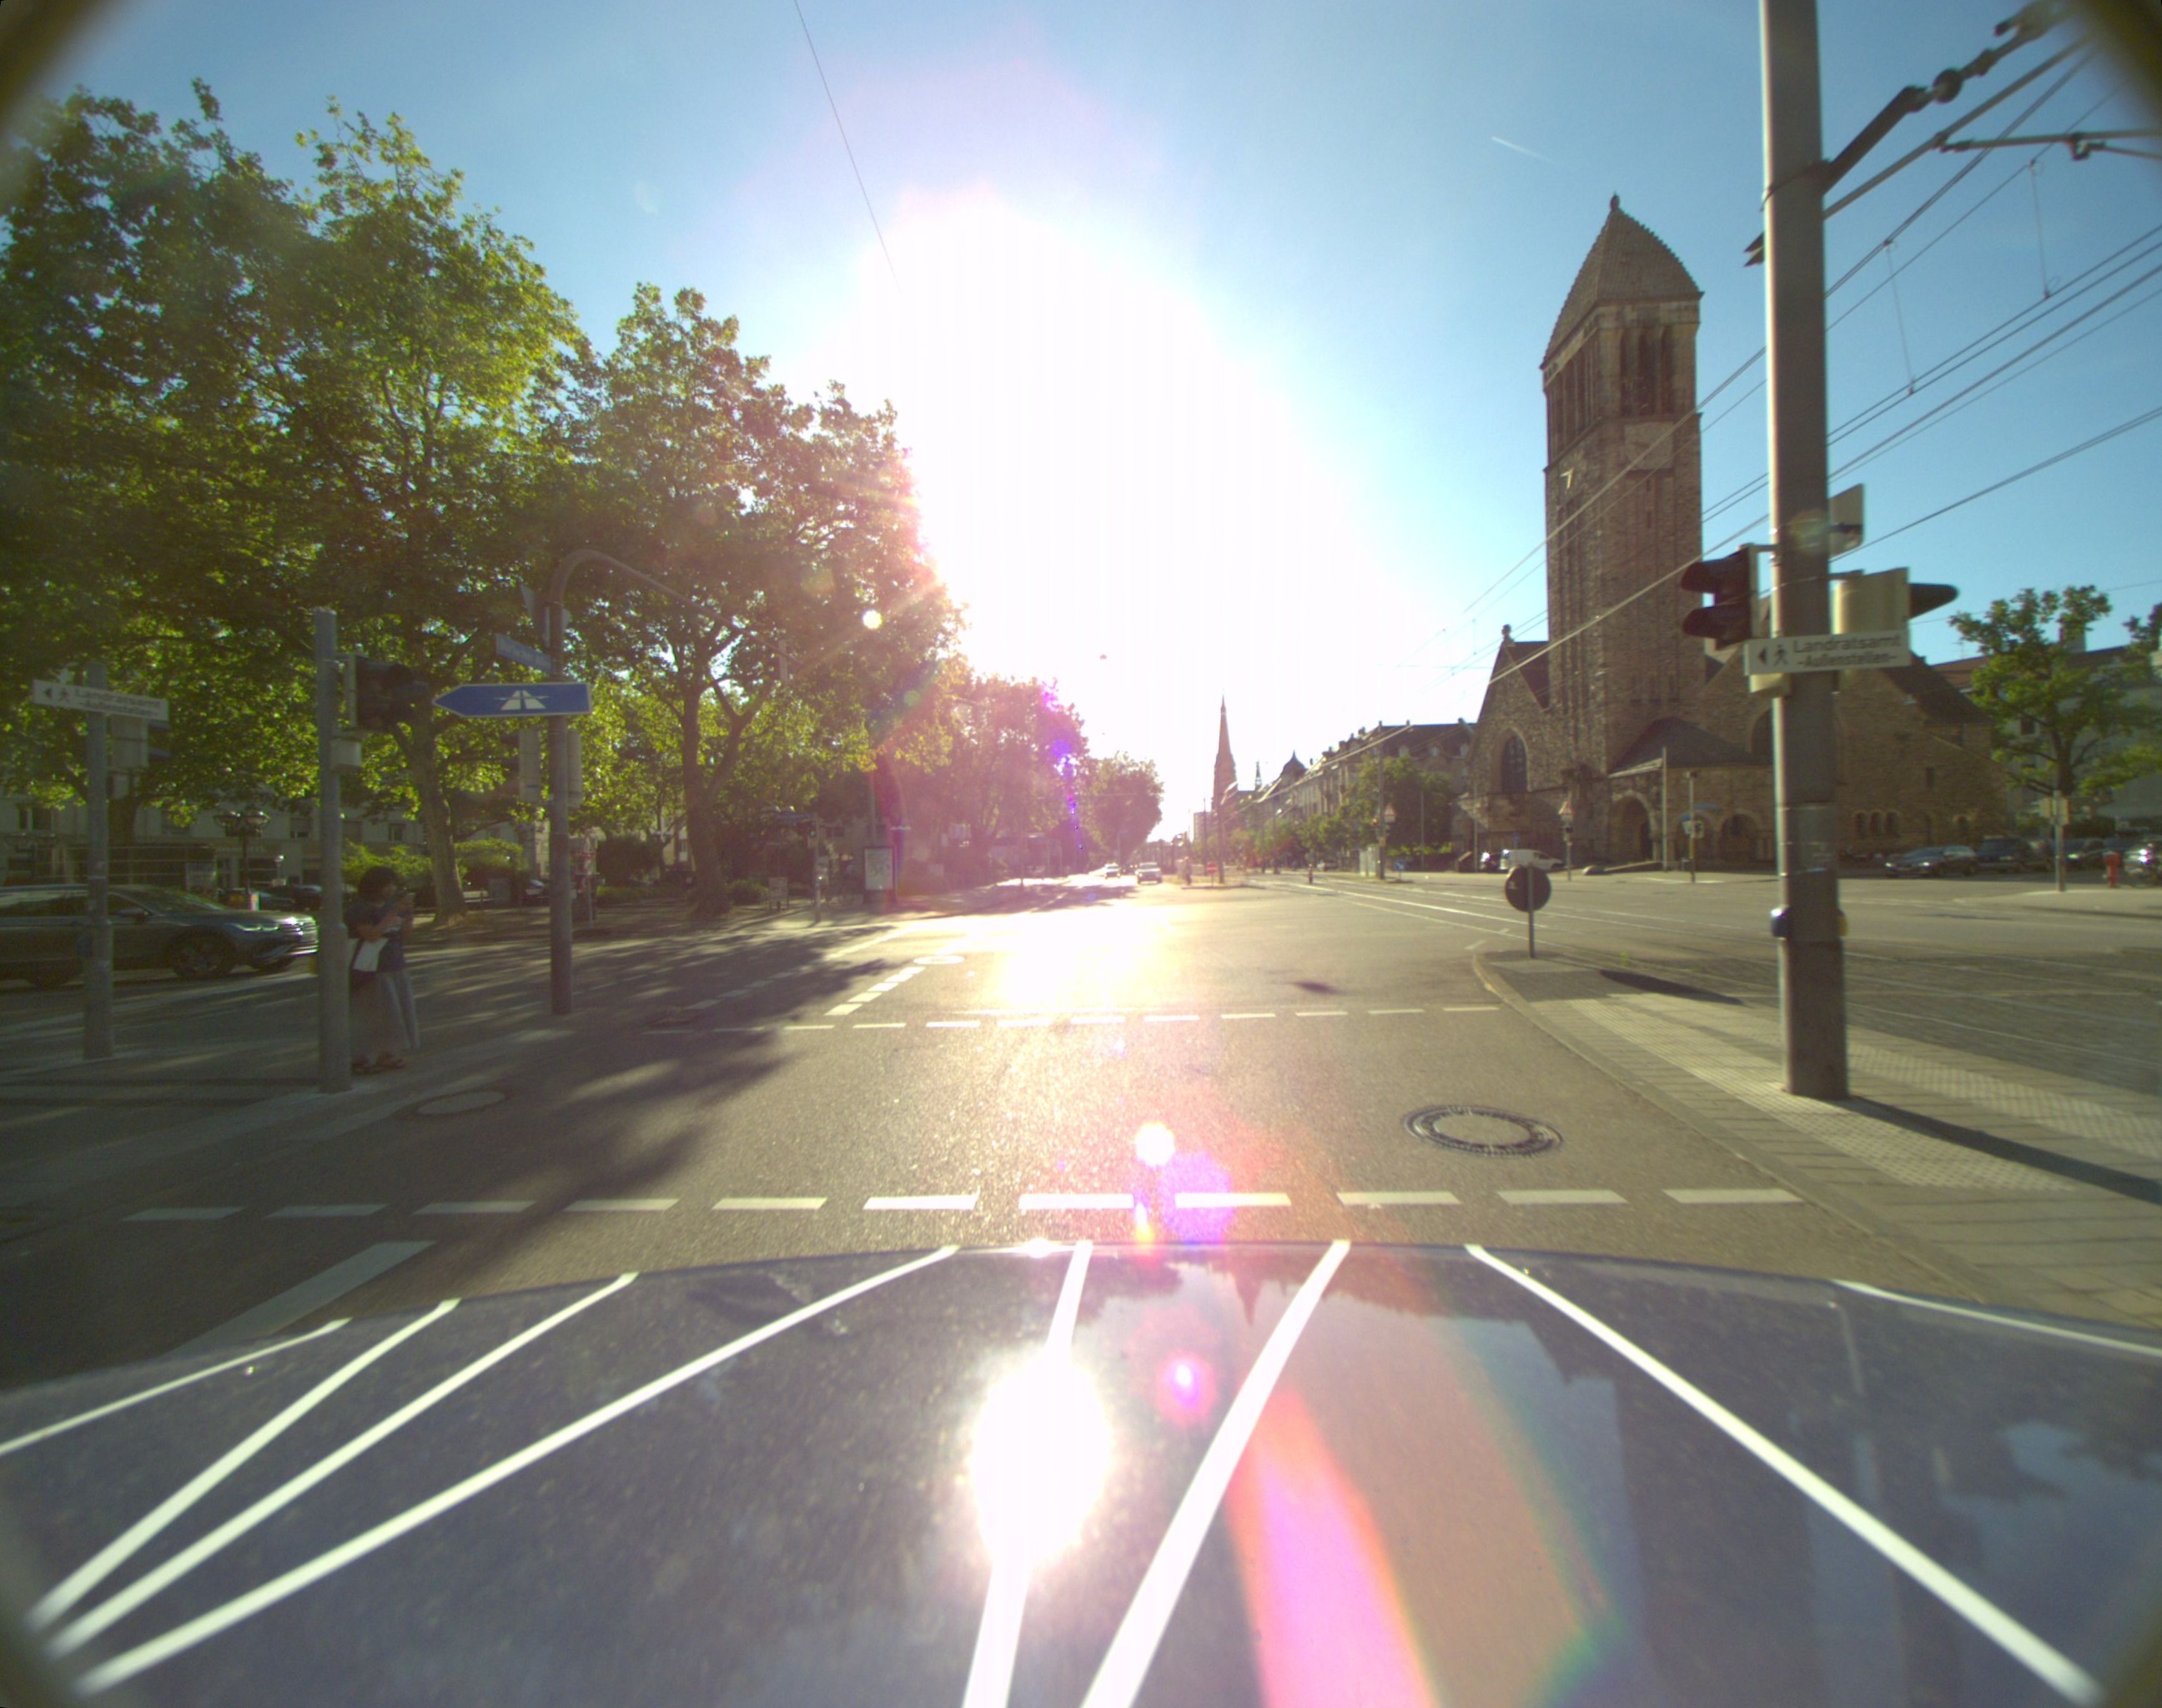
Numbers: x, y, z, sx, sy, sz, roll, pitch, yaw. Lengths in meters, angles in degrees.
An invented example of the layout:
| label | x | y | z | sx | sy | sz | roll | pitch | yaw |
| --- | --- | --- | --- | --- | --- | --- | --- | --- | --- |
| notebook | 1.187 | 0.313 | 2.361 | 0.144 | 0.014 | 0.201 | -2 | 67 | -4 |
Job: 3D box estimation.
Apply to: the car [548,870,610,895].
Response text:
| label | x | y | z | sx | sy | sz | roll | pitch | yaw |
| --- | --- | --- | --- | --- | --- | --- | --- | --- | --- |
| car | -44.280 | 2.486 | 67.054 | 3.996 | 1.905 | 2.048 | -3 | 0 | 4 |

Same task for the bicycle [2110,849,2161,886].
| label | x | y | z | sx | sy | sz | roll | pitch | yaw |
| --- | --- | --- | --- | --- | --- | --- | --- | --- | --- |
| bicycle | 35.997 | 0.449 | 25.205 | 0.529 | 1.184 | 2.123 | -4 | 0 | -23 |

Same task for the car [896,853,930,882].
| label | x | y | z | sx | sy | sz | roll | pitch | yaw |
| --- | --- | --- | --- | --- | --- | --- | --- | --- | --- |
| car | -17.083 | 1.325 | 77.697 | 1.998 | 2.726 | 4.716 | -3 | 0 | 4 |

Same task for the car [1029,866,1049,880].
| label | x | y | z | sx | sy | sz | roll | pitch | yaw |
| --- | --- | --- | --- | --- | --- | --- | --- | --- | --- |
| car | -4.718 | 2.121 | 85.194 | 1.720 | 1.319 | 3.755 | -3 | 0 | 3 |

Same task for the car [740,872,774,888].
| label | x | y | z | sx | sy | sz | roll | pitch | yaw |
| --- | --- | --- | --- | --- | --- | --- | --- | --- | --- |
| car | -33.336 | 2.628 | 78.283 | 1.710 | 1.493 | 4.180 | -2 | -1 | 0 |

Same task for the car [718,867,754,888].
| label | x | y | z | sx | sy | sz | roll | pitch | yaw |
| --- | --- | --- | --- | --- | --- | --- | --- | --- | --- |
| car | -35.734 | 2.441 | 78.825 | 1.710 | 2.015 | 4.180 | -2 | -1 | 0 |

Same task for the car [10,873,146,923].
| label | x | y | z | sx | sy | sz | roll | pitch | yaw |
| --- | --- | --- | --- | --- | --- | --- | --- | --- | --- |
| car | -56.483 | 2.418 | 42.834 | 5.063 | 2.651 | 2.168 | 0 | 0 | 4 |

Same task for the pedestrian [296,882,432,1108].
| label | x | y | z | sx | sy | sz | roll | pitch | yaw |
| --- | --- | --- | --- | --- | --- | --- | --- | --- | --- |
| pedestrian | -5.552 | 1.048 | 5.911 | 0.429 | 1.629 | 0.613 | -3 | 0 | -5 |

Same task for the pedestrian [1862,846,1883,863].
| label | x | y | z | sx | sy | sz | roll | pitch | yaw |
| --- | --- | --- | --- | --- | --- | --- | --- | --- | --- |
| pedestrian | 54.540 | 0.031 | 52.354 | 0.765 | 1.121 | 0.784 | -5 | 0 | 29 |

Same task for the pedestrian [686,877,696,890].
| label | x | y | z | sx | sy | sz | roll | pitch | yaw |
| --- | --- | --- | --- | --- | --- | --- | --- | --- | --- |
| pedestrian | -37.327 | 2.850 | 72.647 | 0.631 | 1.219 | 0.540 | -3 | 0 | -5 |

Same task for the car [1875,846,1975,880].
| label | x | y | z | sx | sy | sz | roll | pitch | yaw |
| --- | --- | --- | --- | --- | --- | --- | --- | --- | --- |
| car | 42.016 | 0.426 | 37.822 | 4.289 | 1.411 | 1.839 | -3 | 0 | -21 |

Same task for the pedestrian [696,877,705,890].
| label | x | y | z | sx | sy | sz | roll | pitch | yaw |
| --- | --- | --- | --- | --- | --- | --- | --- | --- | --- |
| pedestrian | -36.251 | 2.783 | 72.340 | 0.632 | 1.219 | 0.539 | -3 | 0 | -14 |

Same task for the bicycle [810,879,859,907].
| label | x | y | z | sx | sy | sz | roll | pitch | yaw |
| --- | --- | --- | --- | --- | --- | --- | --- | --- | --- |
| bicycle | -10.130 | 1.591 | 31.219 | 1.826 | 1.047 | 0.534 | -2 | 0 | -23 |

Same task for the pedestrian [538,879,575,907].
| label | x | y | z | sx | sy | sz | roll | pitch | yaw |
| --- | --- | --- | --- | --- | --- | --- | --- | --- | --- |
| pedestrian | -25.042 | 1.855 | 36.293 | 1.140 | 1.233 | 0.791 | -3 | 0 | 3 |

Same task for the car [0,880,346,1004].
| label | x | y | z | sx | sy | sz | roll | pitch | yaw |
| --- | --- | --- | --- | --- | --- | --- | --- | --- | --- |
| car | -15.671 | 1.405 | 12.571 | 4.583 | 1.630 | 1.933 | -3 | 0 | -19 |

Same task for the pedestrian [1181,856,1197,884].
| label | x | y | z | sx | sy | sz | roll | pitch | yaw |
| --- | --- | --- | --- | --- | --- | --- | --- | --- | --- |
| pedestrian | 6.276 | 0.921 | 44.138 | 0.678 | 1.611 | 0.925 | -3 | 0 | 1 |

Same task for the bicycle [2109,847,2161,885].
| label | x | y | z | sx | sy | sz | roll | pitch | yaw |
| --- | --- | --- | --- | --- | --- | --- | --- | --- | --- |
| bicycle | 34.471 | 0.386 | 24.093 | 0.529 | 1.184 | 2.123 | -4 | 0 | -23 |

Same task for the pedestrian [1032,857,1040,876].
| label | x | y | z | sx | sy | sz | roll | pitch | yaw |
| --- | --- | --- | --- | --- | --- | --- | --- | --- | --- |
| pedestrian | -4.483 | 1.204 | 75.625 | 0.631 | 1.832 | 0.540 | -3 | 0 | 1 |

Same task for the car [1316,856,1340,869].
| label | x | y | z | sx | sy | sz | roll | pitch | yaw |
| --- | --- | --- | --- | --- | --- | --- | --- | --- | --- |
| car | 30.498 | 1.010 | 93.971 | 1.786 | 1.521 | 4.215 | -3 | 0 | 4 |

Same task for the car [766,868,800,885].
| label | x | y | z | sx | sy | sz | roll | pitch | yaw |
| --- | --- | --- | --- | --- | --- | --- | --- | --- | --- |
| car | -30.729 | 2.310 | 78.458 | 1.710 | 1.650 | 4.180 | -2 | -1 | 0 |

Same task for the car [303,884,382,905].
| label | x | y | z | sx | sy | sz | roll | pitch | yaw |
| --- | --- | --- | --- | --- | --- | --- | --- | --- | --- |
| car | -55.040 | 2.987 | 56.665 | 4.348 | 1.471 | 1.780 | 0 | 0 | 4 |

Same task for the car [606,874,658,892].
| label | x | y | z | sx | sy | sz | roll | pitch | yaw |
| --- | --- | --- | --- | --- | --- | --- | --- | --- | --- |
| car | -43.985 | 2.843 | 74.465 | 3.996 | 1.400 | 1.779 | -3 | 0 | 4 |

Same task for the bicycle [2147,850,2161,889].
| label | x | y | z | sx | sy | sz | roll | pitch | yaw |
| --- | --- | --- | --- | --- | --- | --- | --- | --- | --- |
| bicycle | 34.292 | 0.458 | 23.071 | 0.529 | 1.184 | 2.123 | -4 | 0 | -23 |

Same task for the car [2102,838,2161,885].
| label | x | y | z | sx | sy | sz | roll | pitch | yaw |
| --- | --- | --- | --- | --- | --- | --- | --- | --- | --- |
| car | 39.533 | 0.191 | 26.593 | 3.990 | 1.574 | 2.005 | -4 | -5 | 29 |

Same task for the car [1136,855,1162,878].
| label | x | y | z | sx | sy | sz | roll | pitch | yaw |
| --- | --- | --- | --- | --- | --- | --- | --- | --- | --- |
| car | 4.837 | 0.886 | 54.244 | 1.636 | 1.490 | 4.001 | -3 | 0 | 3 |

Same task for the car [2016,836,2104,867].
| label | x | y | z | sx | sy | sz | roll | pitch | yaw |
| --- | --- | --- | --- | --- | --- | --- | --- | --- | --- |
| car | 55.434 | -0.125 | 43.027 | 4.344 | 1.494 | 1.839 | -3 | 0 | -21 |

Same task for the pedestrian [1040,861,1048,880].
| label | x | y | z | sx | sy | sz | roll | pitch | yaw |
| --- | --- | --- | --- | --- | --- | --- | --- | --- | --- |
| pedestrian | -3.648 | 1.610 | 75.585 | 0.631 | 1.832 | 0.540 | -3 | 0 | 1 |

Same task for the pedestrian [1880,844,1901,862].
| label | x | y | z | sx | sy | sz | roll | pitch | yaw |
| --- | --- | --- | --- | --- | --- | --- | --- | --- | --- |
| pedestrian | 55.255 | -0.083 | 51.882 | 0.651 | 1.121 | 0.701 | -5 | 0 | 20 |

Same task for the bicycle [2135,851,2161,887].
| label | x | y | z | sx | sy | sz | roll | pitch | yaw |
| --- | --- | --- | --- | --- | --- | --- | --- | --- | --- |
| bicycle | 36.701 | 0.473 | 25.076 | 0.529 | 1.184 | 2.123 | -4 | 0 | -22 |

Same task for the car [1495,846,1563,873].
| label | x | y | z | sx | sy | sz | roll | pitch | yaw |
| --- | --- | --- | --- | --- | --- | --- | --- | --- | --- |
| car | 34.468 | 0.409 | 58.529 | 4.023 | 1.795 | 1.871 | -3 | 0 | 3 |

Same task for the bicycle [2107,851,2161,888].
| label | x | y | z | sx | sy | sz | roll | pitch | yaw |
| --- | --- | --- | --- | --- | --- | --- | --- | --- | --- |
| bicycle | 35.259 | 0.502 | 24.727 | 0.554 | 1.184 | 2.123 | -4 | 0 | -23 |

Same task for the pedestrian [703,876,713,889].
| label | x | y | z | sx | sy | sz | roll | pitch | yaw |
| --- | --- | --- | --- | --- | --- | --- | --- | --- | --- |
| pedestrian | -35.532 | 2.740 | 72.410 | 0.632 | 1.219 | 0.539 | -3 | 0 | -14 |

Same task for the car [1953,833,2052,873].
| label | x | y | z | sx | sy | sz | roll | pitch | yaw |
| --- | --- | --- | --- | --- | --- | --- | --- | --- | --- |
| car | 49.739 | -0.047 | 41.012 | 4.493 | 1.857 | 1.997 | -3 | 0 | -21 |

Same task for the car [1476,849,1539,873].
| label | x | y | z | sx | sy | sz | roll | pitch | yaw |
| --- | --- | --- | --- | --- | --- | --- | --- | --- | --- |
| car | 34.433 | 0.565 | 61.456 | 4.040 | 1.620 | 1.769 | -3 | 0 | 3 |
